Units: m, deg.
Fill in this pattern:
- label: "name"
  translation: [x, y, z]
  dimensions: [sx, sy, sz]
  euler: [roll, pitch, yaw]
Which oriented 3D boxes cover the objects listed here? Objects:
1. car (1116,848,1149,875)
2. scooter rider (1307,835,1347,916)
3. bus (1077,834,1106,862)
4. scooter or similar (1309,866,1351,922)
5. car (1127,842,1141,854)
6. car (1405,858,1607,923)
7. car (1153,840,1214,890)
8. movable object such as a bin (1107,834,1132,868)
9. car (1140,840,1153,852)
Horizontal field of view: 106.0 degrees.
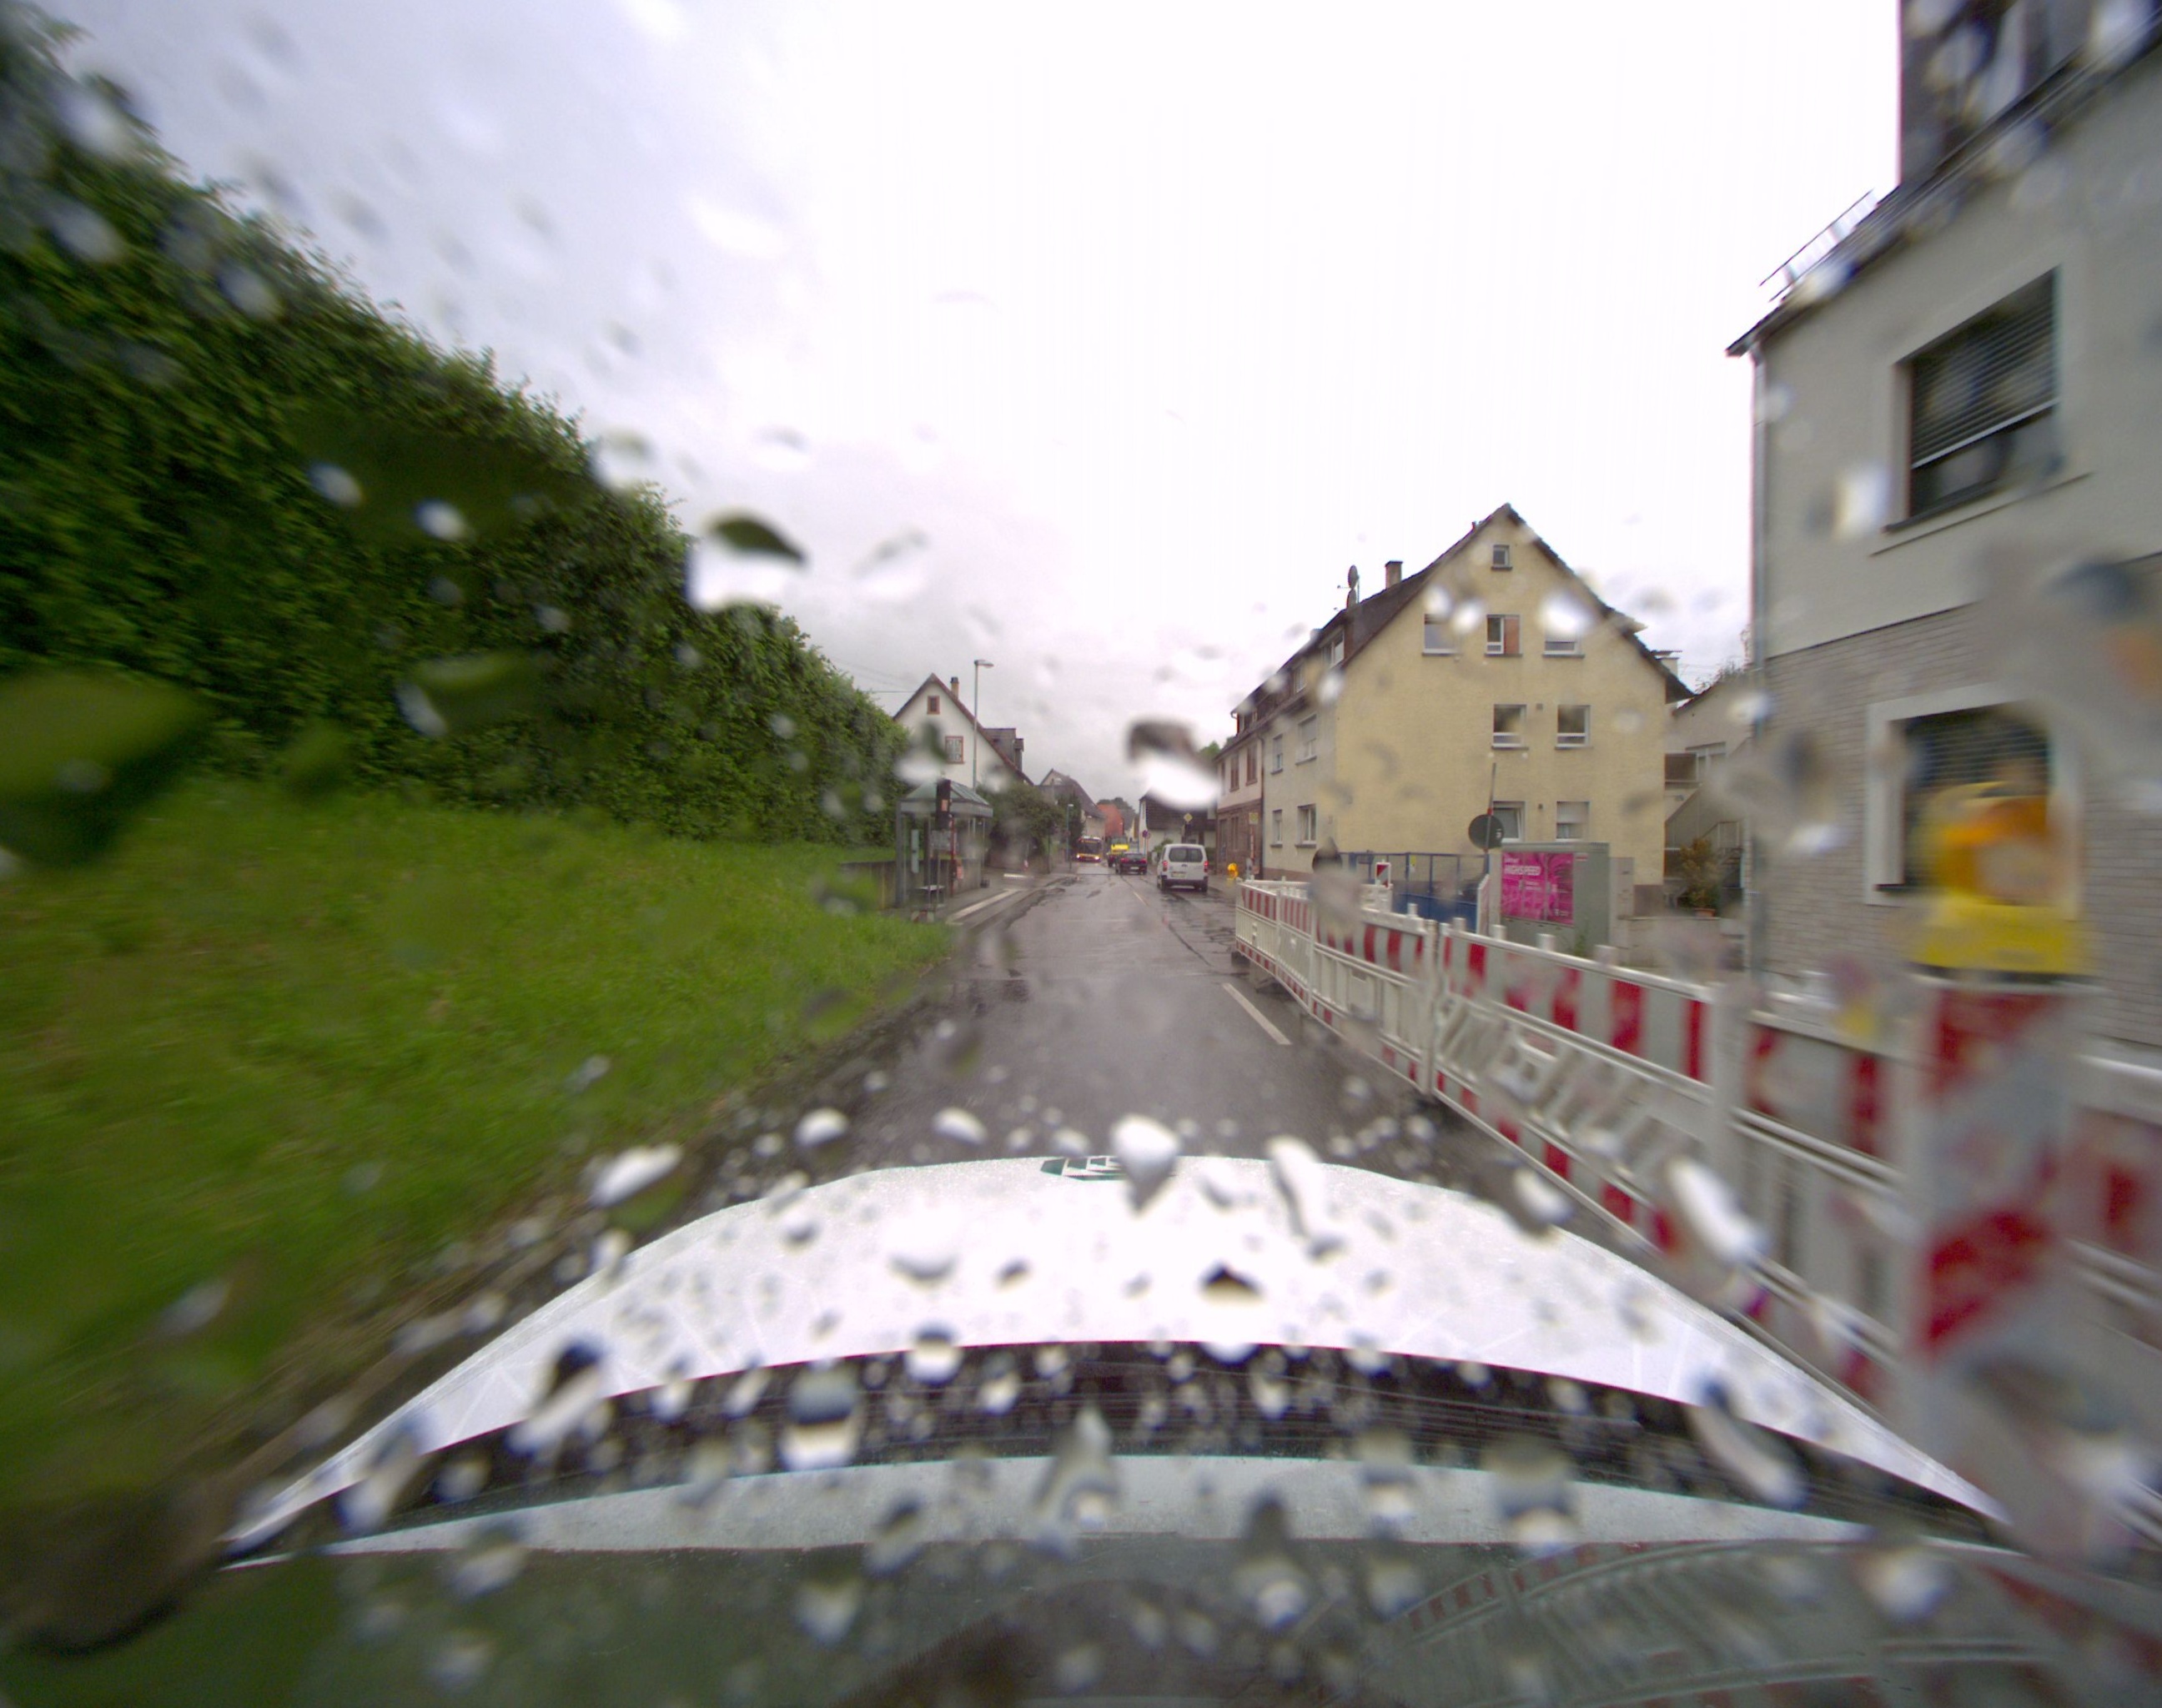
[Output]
- label: "car"
  translation: [3.302, 0.446, 52.583]
  dimensions: [1.804, 1.596, 3.754]
  euler: [2, 0, -1]
- label: "scooter rider"
  translation: [5.370, 0.458, 17.794]
  dimensions: [0.727, 1.733, 0.519]
  euler: [1, -1, 7]
- label: "bus"
  translation: [1.343, -0.823, 98.870]
  dimensions: [2.637, 2.999, 12.210]
  euler: [2, 2, 5]
- label: "scooter or similar"
  translation: [5.323, 0.834, 17.484]
  dimensions: [0.617, 1.127, 1.405]
  euler: [1, 0, 8]
- label: "car"
  translation: [9.095, -0.966, 139.280]
  dimensions: [1.983, 2.014, 4.008]
  euler: [-1, 0, 7]
- label: "car"
  translation: [10.741, 0.900, 20.810]
  dimensions: [4.130, 1.302, 1.912]
  euler: [4, 0, 0]
- label: "car"
  translation: [3.968, 0.399, 32.106]
  dimensions: [1.888, 1.793, 3.813]
  euler: [2, 0, 0]
- label: "movable object such as a bin"
  translation: [3.067, -0.255, 65.523]
  dimensions: [1.721, 2.653, 3.973]
  euler: [2, 0, 0]
- label: "car"
  translation: [10.168, -1.264, 126.679]
  dimensions: [1.841, 1.794, 4.008]
  euler: [-1, 0, 7]
